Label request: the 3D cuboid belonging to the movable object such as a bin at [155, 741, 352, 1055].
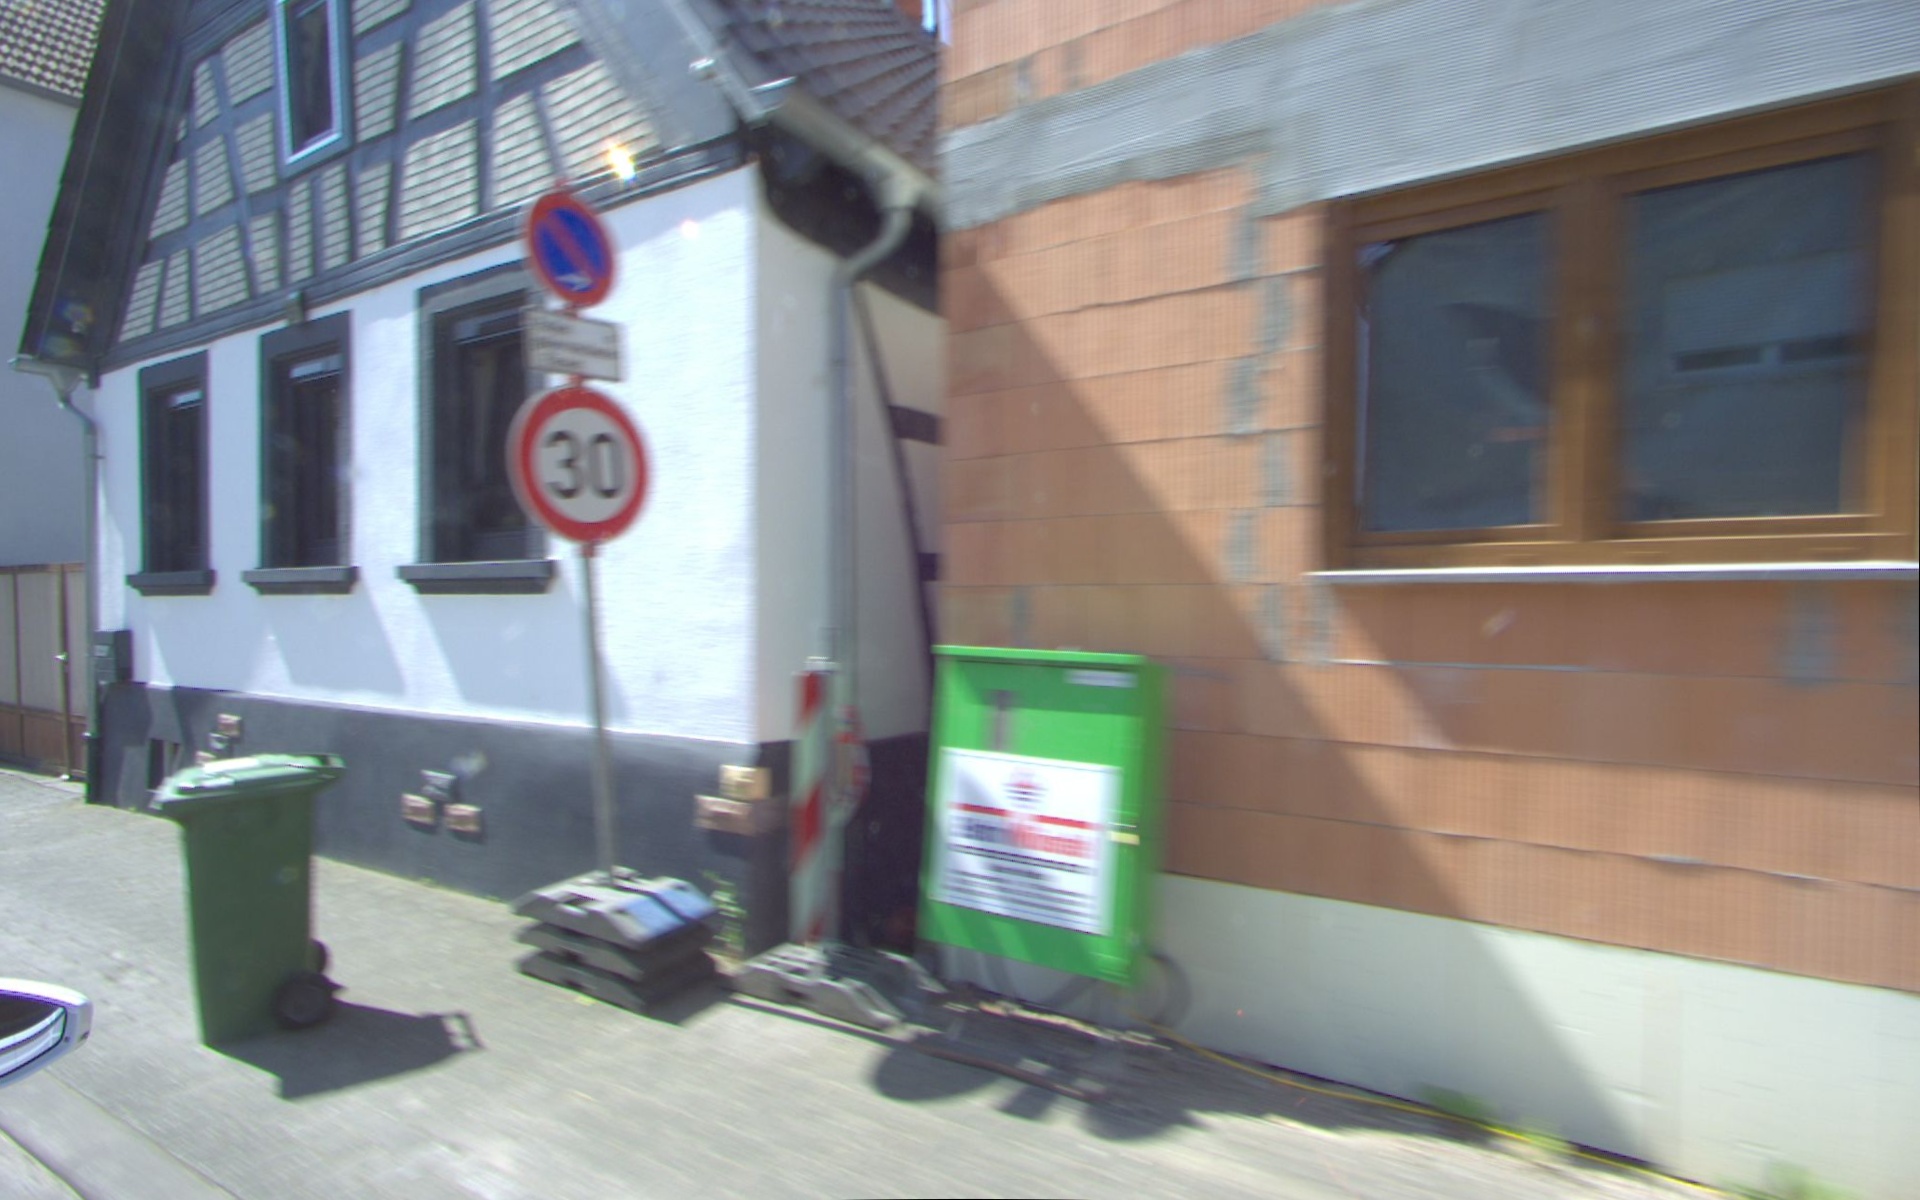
[{"bbox_3d":[-2.586,1.029,3.661,0.534,0.926,0.547,-1,1,-41],"label":"movable object such as a bin"}]
